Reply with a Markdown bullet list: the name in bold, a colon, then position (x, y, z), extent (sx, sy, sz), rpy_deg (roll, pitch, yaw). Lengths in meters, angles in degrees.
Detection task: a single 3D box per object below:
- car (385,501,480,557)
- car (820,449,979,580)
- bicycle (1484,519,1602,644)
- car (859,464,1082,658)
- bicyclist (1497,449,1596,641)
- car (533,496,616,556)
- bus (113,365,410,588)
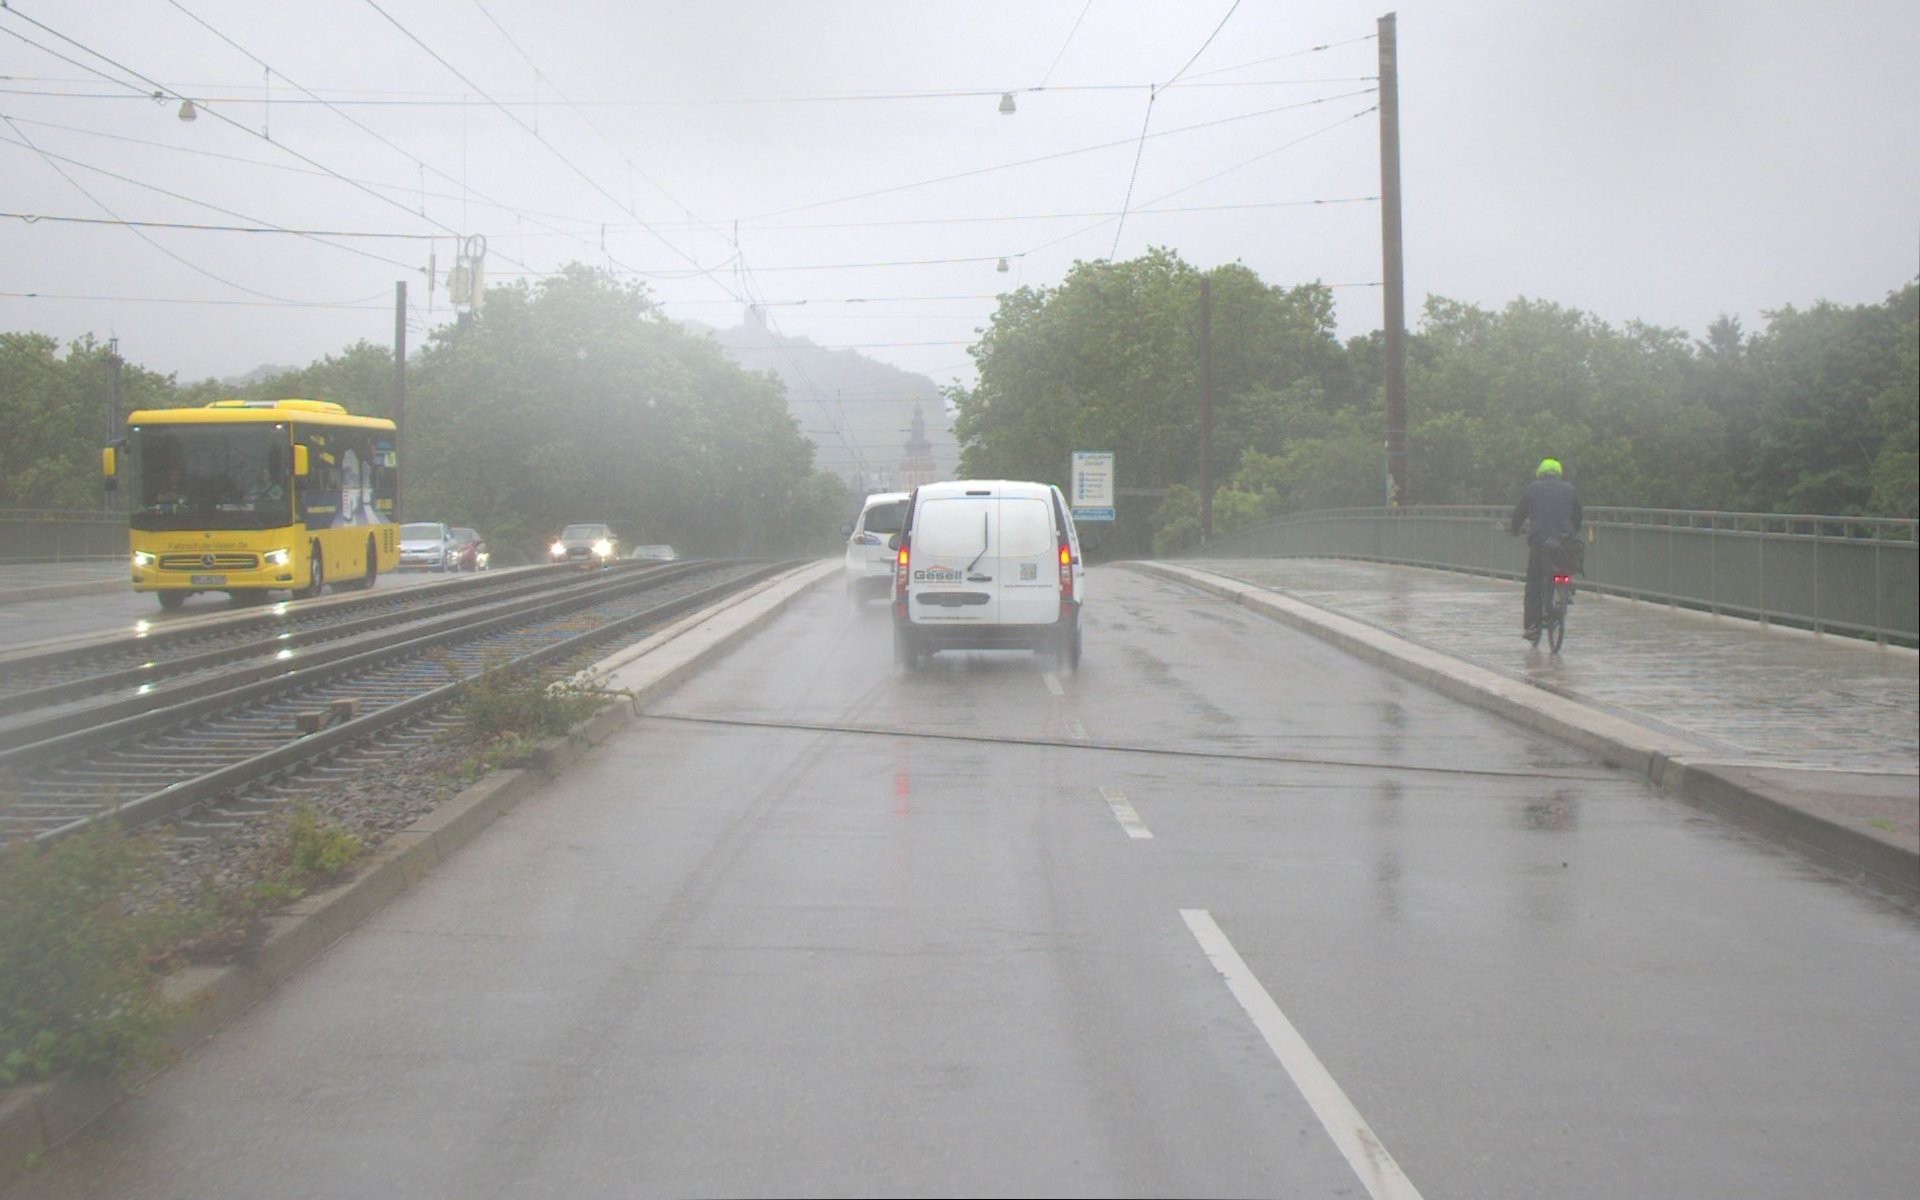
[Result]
- **car**: position (-14.796, -1.980, 96.687), extent (1.993, 1.451, 4.620), rpy_deg (-2, 0, -1)
- **car**: position (-0.810, -1.169, 48.533), extent (1.994, 1.711, 4.000), rpy_deg (2, 0, 2)
- **bicycle**: position (5.481, -0.187, 32.427), extent (0.723, 1.125, 2.168), rpy_deg (2, 1, 0)
- **car**: position (0.162, -0.363, 33.509), extent (1.994, 1.720, 4.000), rpy_deg (2, 0, 2)
- **bicyclist**: position (5.507, -0.510, 32.314), extent (0.725, 1.758, 0.949), rpy_deg (2, 0, 0)
- **car**: position (-12.001, -2.296, 107.377), extent (1.993, 1.711, 4.941), rpy_deg (-2, 0, 0)
- **bus**: position (-11.526, -2.132, 57.923), extent (2.708, 3.329, 10.995), rpy_deg (-2, 3, 0)
